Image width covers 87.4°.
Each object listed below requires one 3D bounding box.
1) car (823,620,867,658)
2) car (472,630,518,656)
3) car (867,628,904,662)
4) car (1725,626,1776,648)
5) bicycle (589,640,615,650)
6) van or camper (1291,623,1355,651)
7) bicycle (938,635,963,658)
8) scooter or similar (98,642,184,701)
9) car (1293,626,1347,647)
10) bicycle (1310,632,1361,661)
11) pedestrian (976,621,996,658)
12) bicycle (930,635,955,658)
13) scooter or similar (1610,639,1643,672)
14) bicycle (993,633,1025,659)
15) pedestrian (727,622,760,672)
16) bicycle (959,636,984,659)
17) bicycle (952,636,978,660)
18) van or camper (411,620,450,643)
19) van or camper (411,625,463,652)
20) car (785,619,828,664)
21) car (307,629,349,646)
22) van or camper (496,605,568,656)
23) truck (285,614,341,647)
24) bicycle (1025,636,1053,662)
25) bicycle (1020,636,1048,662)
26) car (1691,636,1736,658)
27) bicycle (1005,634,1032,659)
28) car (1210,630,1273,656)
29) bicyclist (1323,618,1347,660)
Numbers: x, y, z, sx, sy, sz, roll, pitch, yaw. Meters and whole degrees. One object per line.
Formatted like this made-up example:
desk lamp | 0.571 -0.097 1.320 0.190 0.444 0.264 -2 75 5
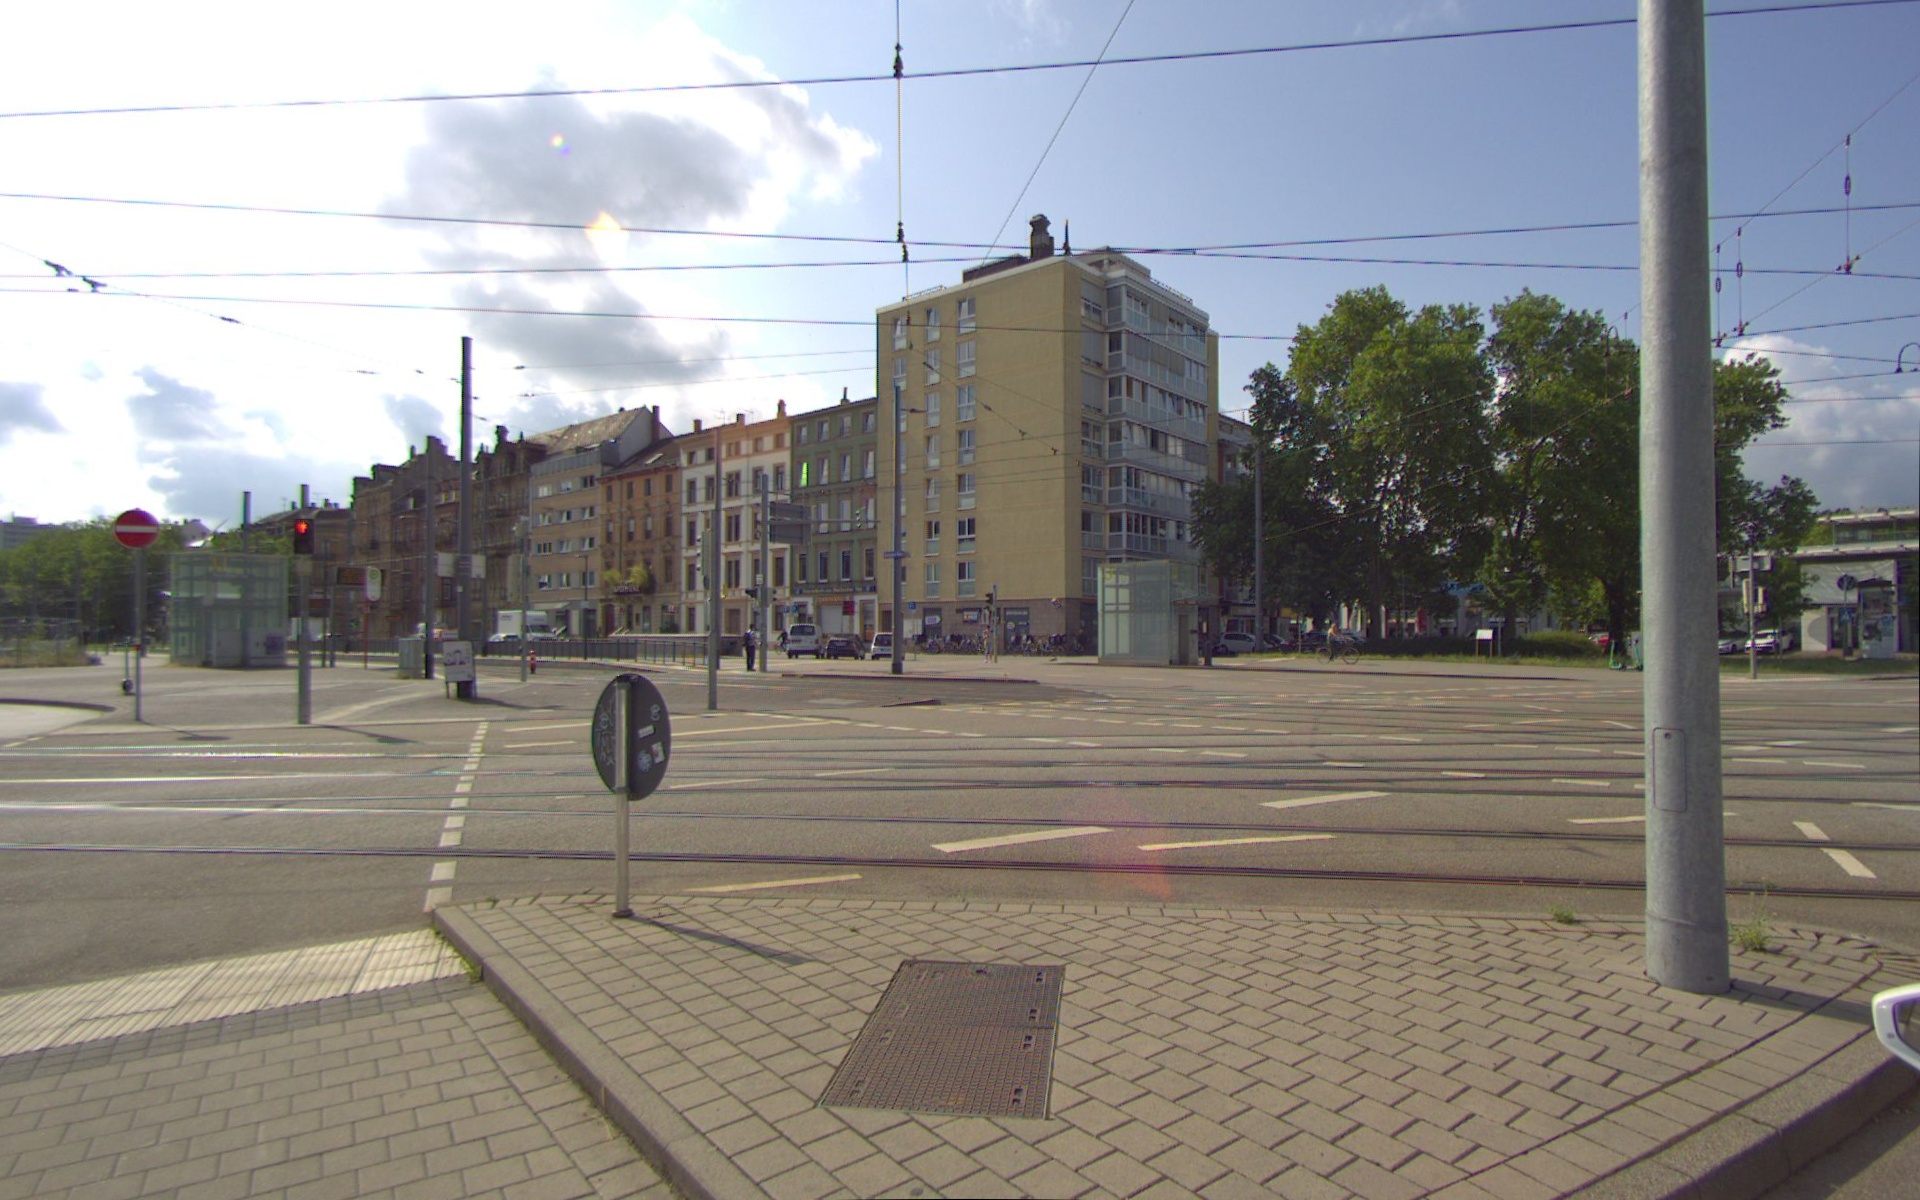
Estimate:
car | -6.375 2.136 56.122 1.854 1.488 5.062 3 4 -1
car | -36.940 3.374 79.818 4.281 1.457 1.786 6 9 42
car | -4.004 2.418 54.513 1.686 1.460 3.511 4 3 0
car | 58.958 2.740 74.925 3.963 1.625 2.053 1 -2 -37
bicycle | -27.127 3.431 76.182 1.736 0.594 0.638 3 4 0
van or camper | 36.185 3.650 100.342 2.365 2.502 5.847 2 0 -31
bicycle | -0.610 2.882 62.743 0.484 1.218 1.623 1 5 -44
scooter or similar | -18.873 1.619 23.134 1.473 1.205 1.331 2 0 43
car | 27.896 2.826 77.939 3.570 1.615 1.656 -2 -2 44
bicycle | 16.381 2.028 43.846 1.956 1.142 0.788 2 0 29
pedestrian | 1.260 1.923 48.872 0.770 1.783 0.996 0 -1 16
bicycle | -1.107 2.866 62.475 0.484 1.218 1.623 1 5 -44
scooter or similar | 25.544 2.131 38.523 0.911 1.173 0.381 3 4 2
bicycle | 2.878 2.724 59.044 1.857 1.289 0.486 6 5 33
pedestrian | -7.926 1.714 36.697 0.783 1.696 0.841 6 6 39
bicycle | 0.697 2.926 61.550 0.484 1.218 1.623 1 5 -44
bicycle | 0.281 2.913 61.175 0.545 1.218 1.623 1 4 -44
van or camper | -58.382 3.481 110.648 5.483 2.506 1.990 -1 -2 41
van or camper | -42.204 3.083 81.043 4.450 1.940 2.008 2 0 37
car | -8.985 2.381 59.121 2.040 2.113 4.895 3 3 -4
car | -56.187 3.331 89.252 3.939 1.528 1.991 -1 -2 39
van or camper | -35.965 2.466 84.283 7.529 3.376 2.706 7 6 42
truck | -67.682 3.126 105.004 7.190 3.330 3.163 0 0 42
bicycle | 4.603 2.834 58.382 0.484 1.289 1.623 1 5 -44
bicycle | 4.253 2.823 57.973 0.528 1.289 1.623 1 5 -44
car | 57.940 3.603 77.246 3.969 1.595 1.976 2 0 -41
bicycle | 3.467 2.743 59.262 0.484 1.289 1.623 1 5 -44
car | 18.747 2.823 66.829 3.520 1.550 1.991 2 0 40
bicyclist | 16.364 1.699 43.841 0.813 1.768 0.711 2 0 29
